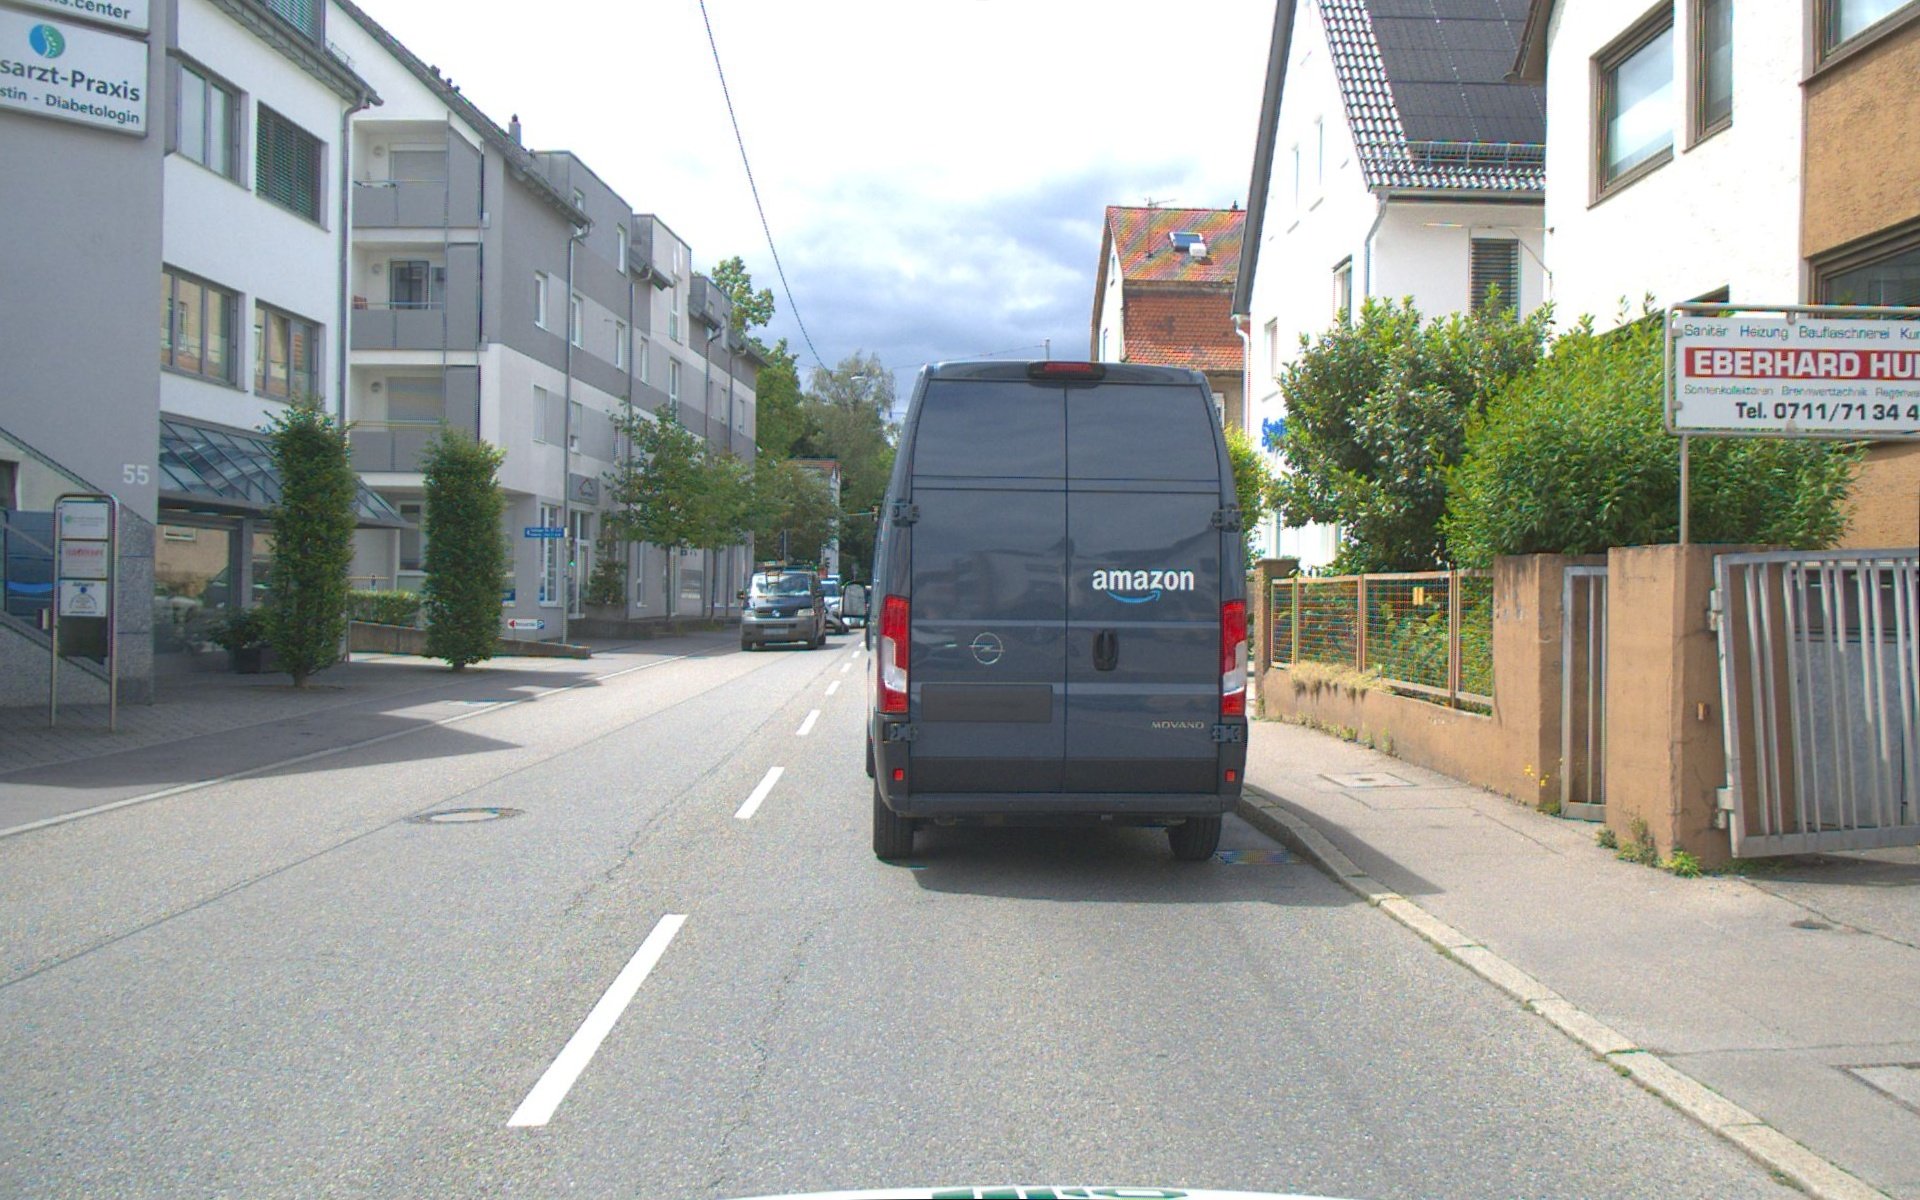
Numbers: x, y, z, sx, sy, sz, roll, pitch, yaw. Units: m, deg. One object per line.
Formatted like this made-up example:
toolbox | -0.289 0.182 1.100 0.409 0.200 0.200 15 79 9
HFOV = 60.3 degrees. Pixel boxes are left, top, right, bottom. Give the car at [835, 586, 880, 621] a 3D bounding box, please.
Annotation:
car | -4.874 0.167 79.327 2.063 1.624 4.647 0 0 -2

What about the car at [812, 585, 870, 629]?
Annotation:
car | -4.532 0.235 63.353 2.063 1.624 4.647 0 0 -2

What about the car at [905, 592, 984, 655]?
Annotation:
car | -0.348 0.562 41.406 1.857 1.479 3.969 0 0 1

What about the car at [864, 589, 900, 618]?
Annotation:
car | -4.558 0.184 96.836 2.063 1.624 4.647 0 0 -2

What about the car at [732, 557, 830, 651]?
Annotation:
car | -4.402 0.086 41.282 2.063 2.158 4.763 -2 0 -2

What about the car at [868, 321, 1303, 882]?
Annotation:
car | 0.499 0.000 11.236 2.208 2.844 5.565 0 0 -3

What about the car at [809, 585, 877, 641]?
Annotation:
car | -3.786 0.395 54.219 2.063 1.739 4.763 0 0 -2
